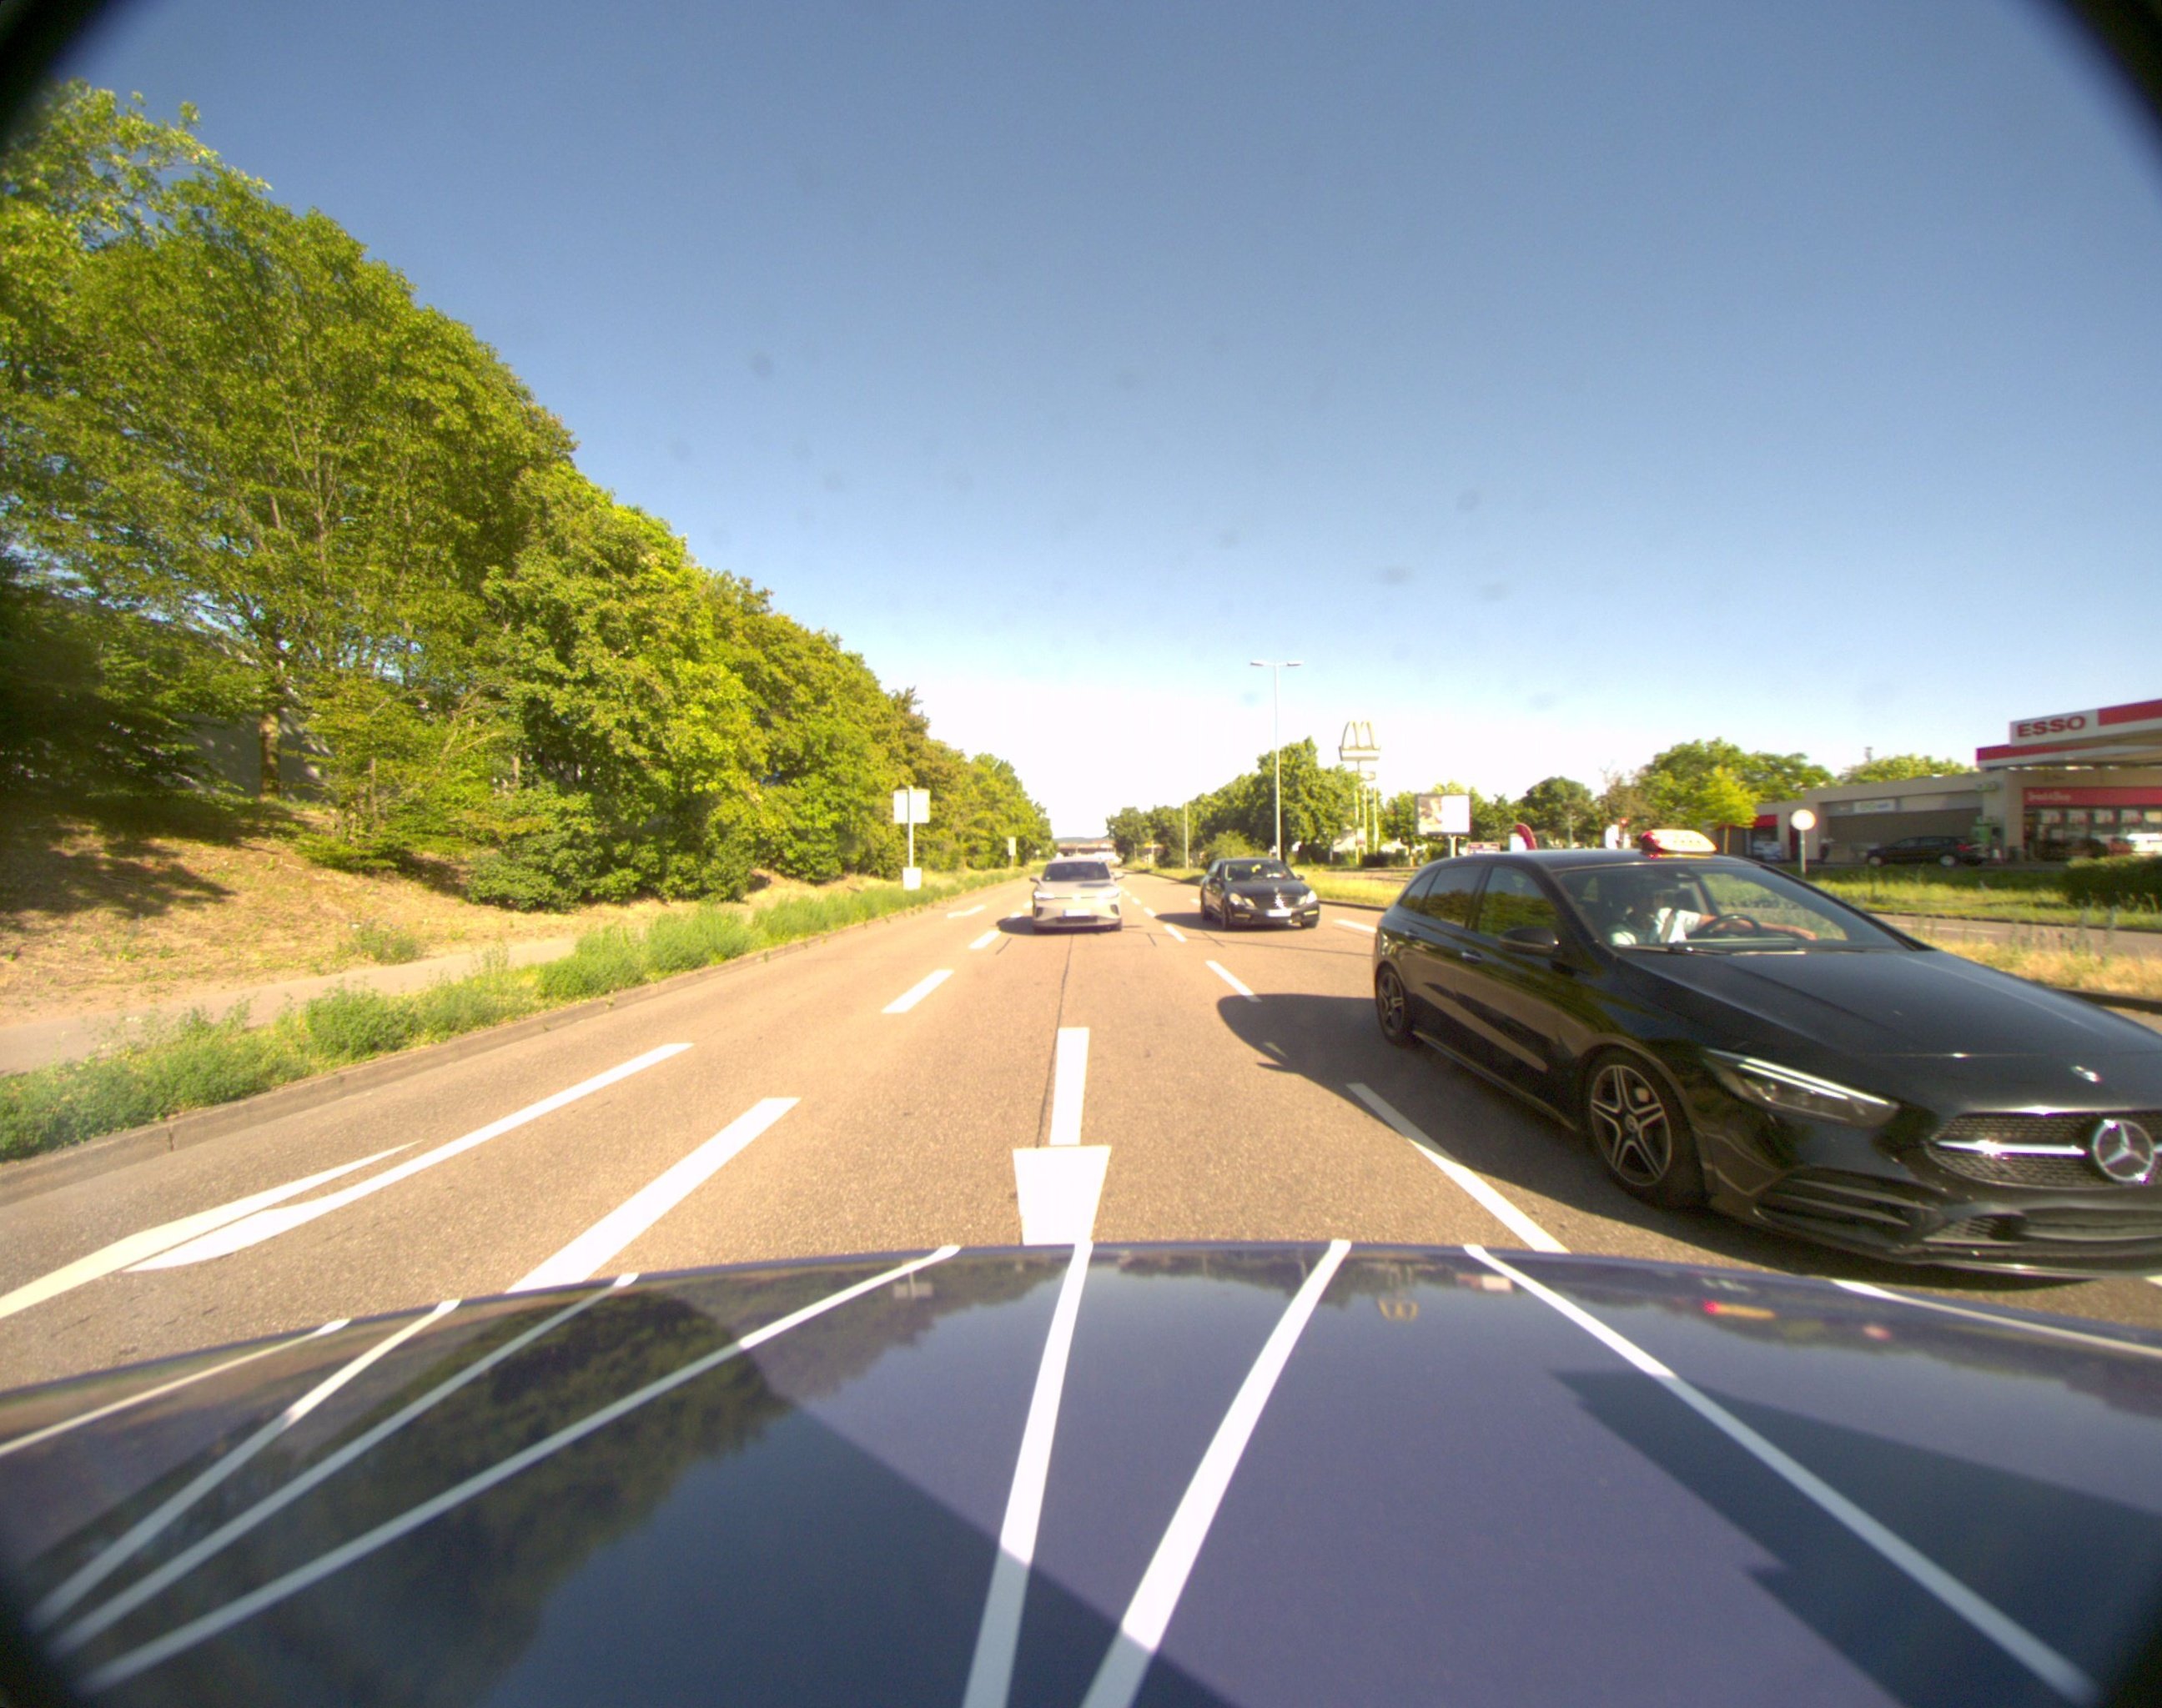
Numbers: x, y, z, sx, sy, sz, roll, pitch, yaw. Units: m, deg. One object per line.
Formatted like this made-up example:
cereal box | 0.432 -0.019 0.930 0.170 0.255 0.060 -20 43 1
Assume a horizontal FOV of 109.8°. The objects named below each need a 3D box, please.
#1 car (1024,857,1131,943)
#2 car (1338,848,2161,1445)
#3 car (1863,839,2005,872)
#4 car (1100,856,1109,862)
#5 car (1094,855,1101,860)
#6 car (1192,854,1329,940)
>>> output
car | -0.039 0.900 16.802 2.025 1.601 4.098 -2 0 1
car | 3.168 0.798 4.369 1.788 1.592 4.583 -2 0 0
car | 38.680 0.061 34.630 1.998 1.397 4.000 -1 0 0
car | 5.315 1.111 173.496 1.998 1.433 4.000 -1 0 1
car | 4.716 0.972 217.823 1.998 1.433 4.000 -1 0 1
car | 3.728 0.824 16.622 1.953 1.501 4.462 -2 1 1
